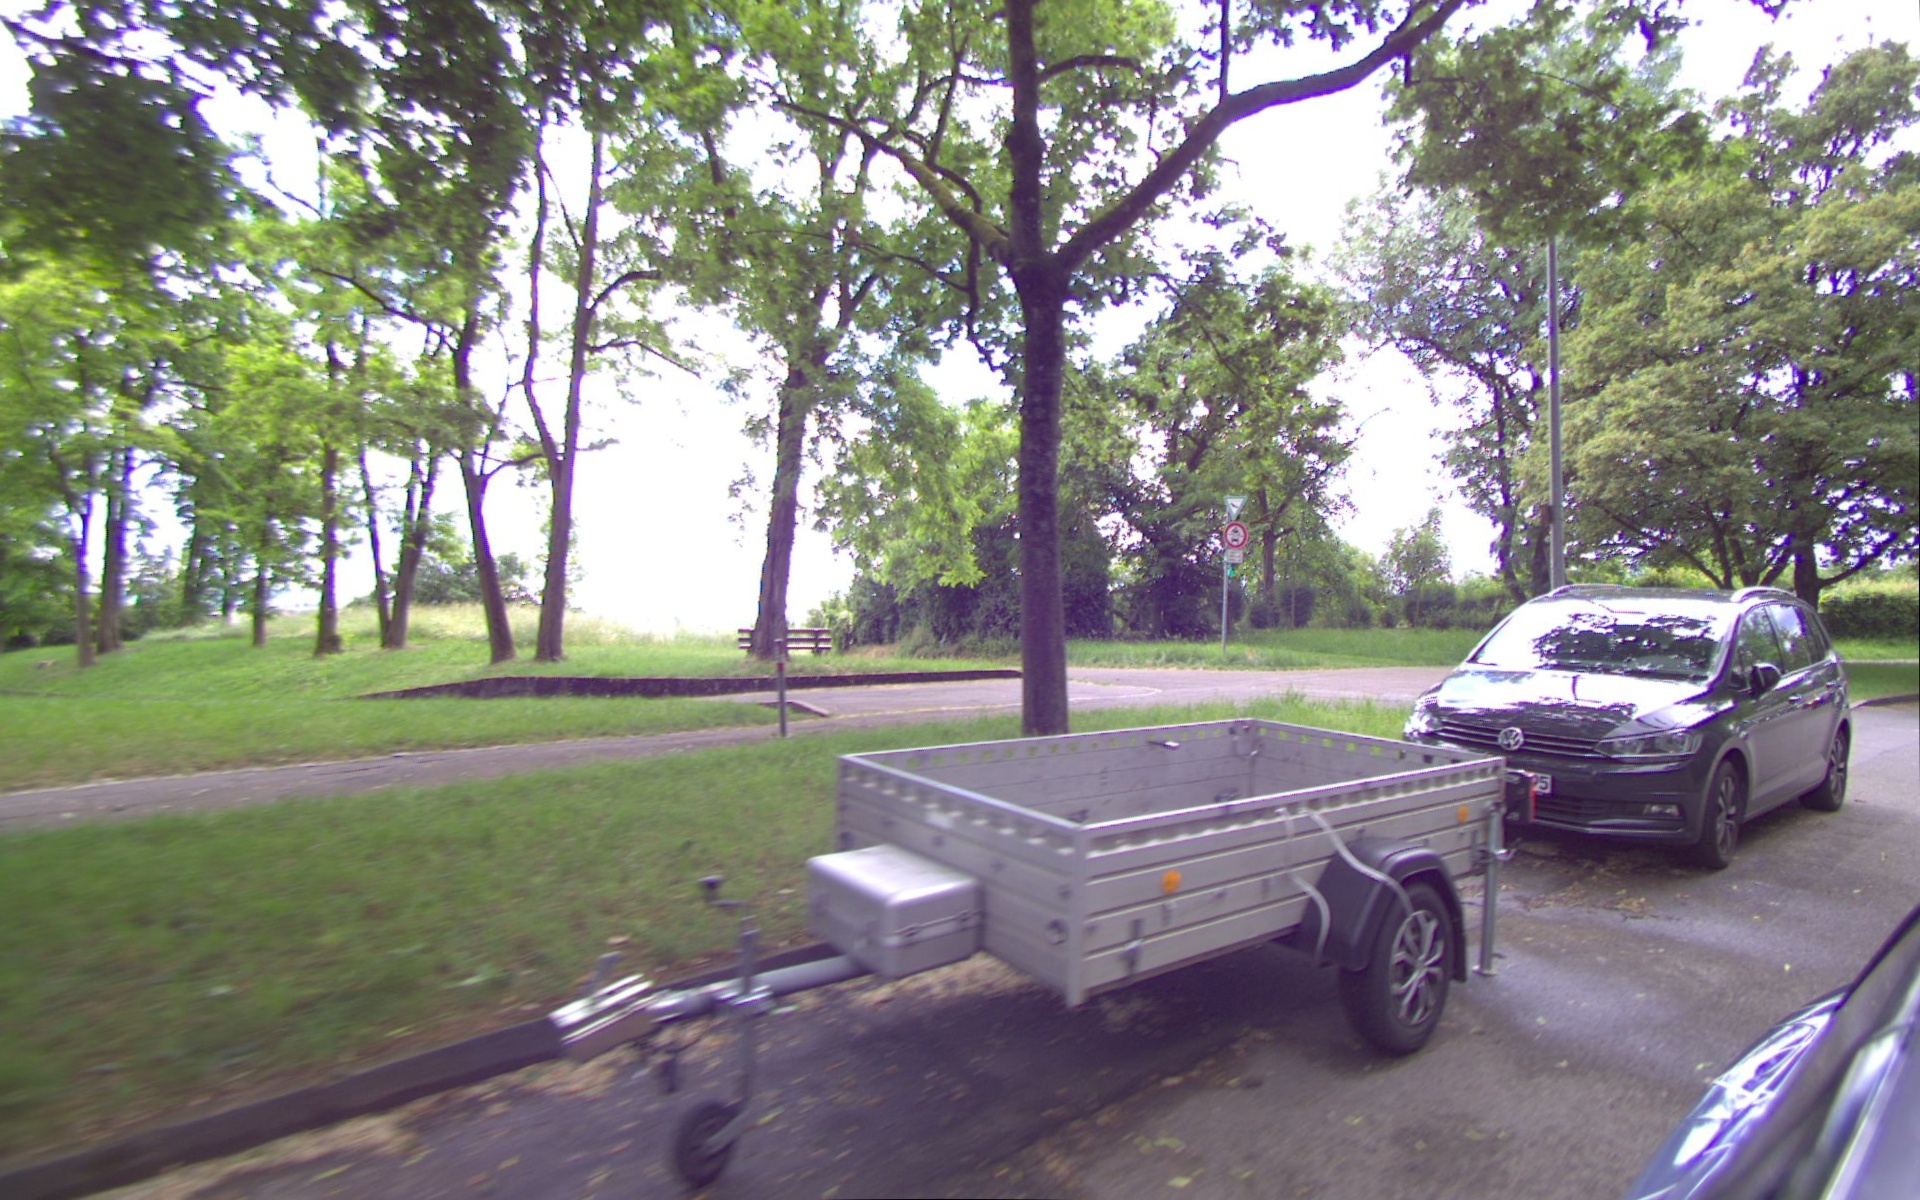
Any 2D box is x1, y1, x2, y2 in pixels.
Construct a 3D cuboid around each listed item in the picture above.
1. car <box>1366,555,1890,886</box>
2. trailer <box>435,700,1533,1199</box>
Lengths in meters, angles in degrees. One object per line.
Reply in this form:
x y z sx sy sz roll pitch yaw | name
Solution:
5.047 0.610 7.343 4.753 1.684 1.779 0 -1 -39 | car
0.410 0.978 3.539 3.820 0.981 1.361 1 -1 -37 | trailer
